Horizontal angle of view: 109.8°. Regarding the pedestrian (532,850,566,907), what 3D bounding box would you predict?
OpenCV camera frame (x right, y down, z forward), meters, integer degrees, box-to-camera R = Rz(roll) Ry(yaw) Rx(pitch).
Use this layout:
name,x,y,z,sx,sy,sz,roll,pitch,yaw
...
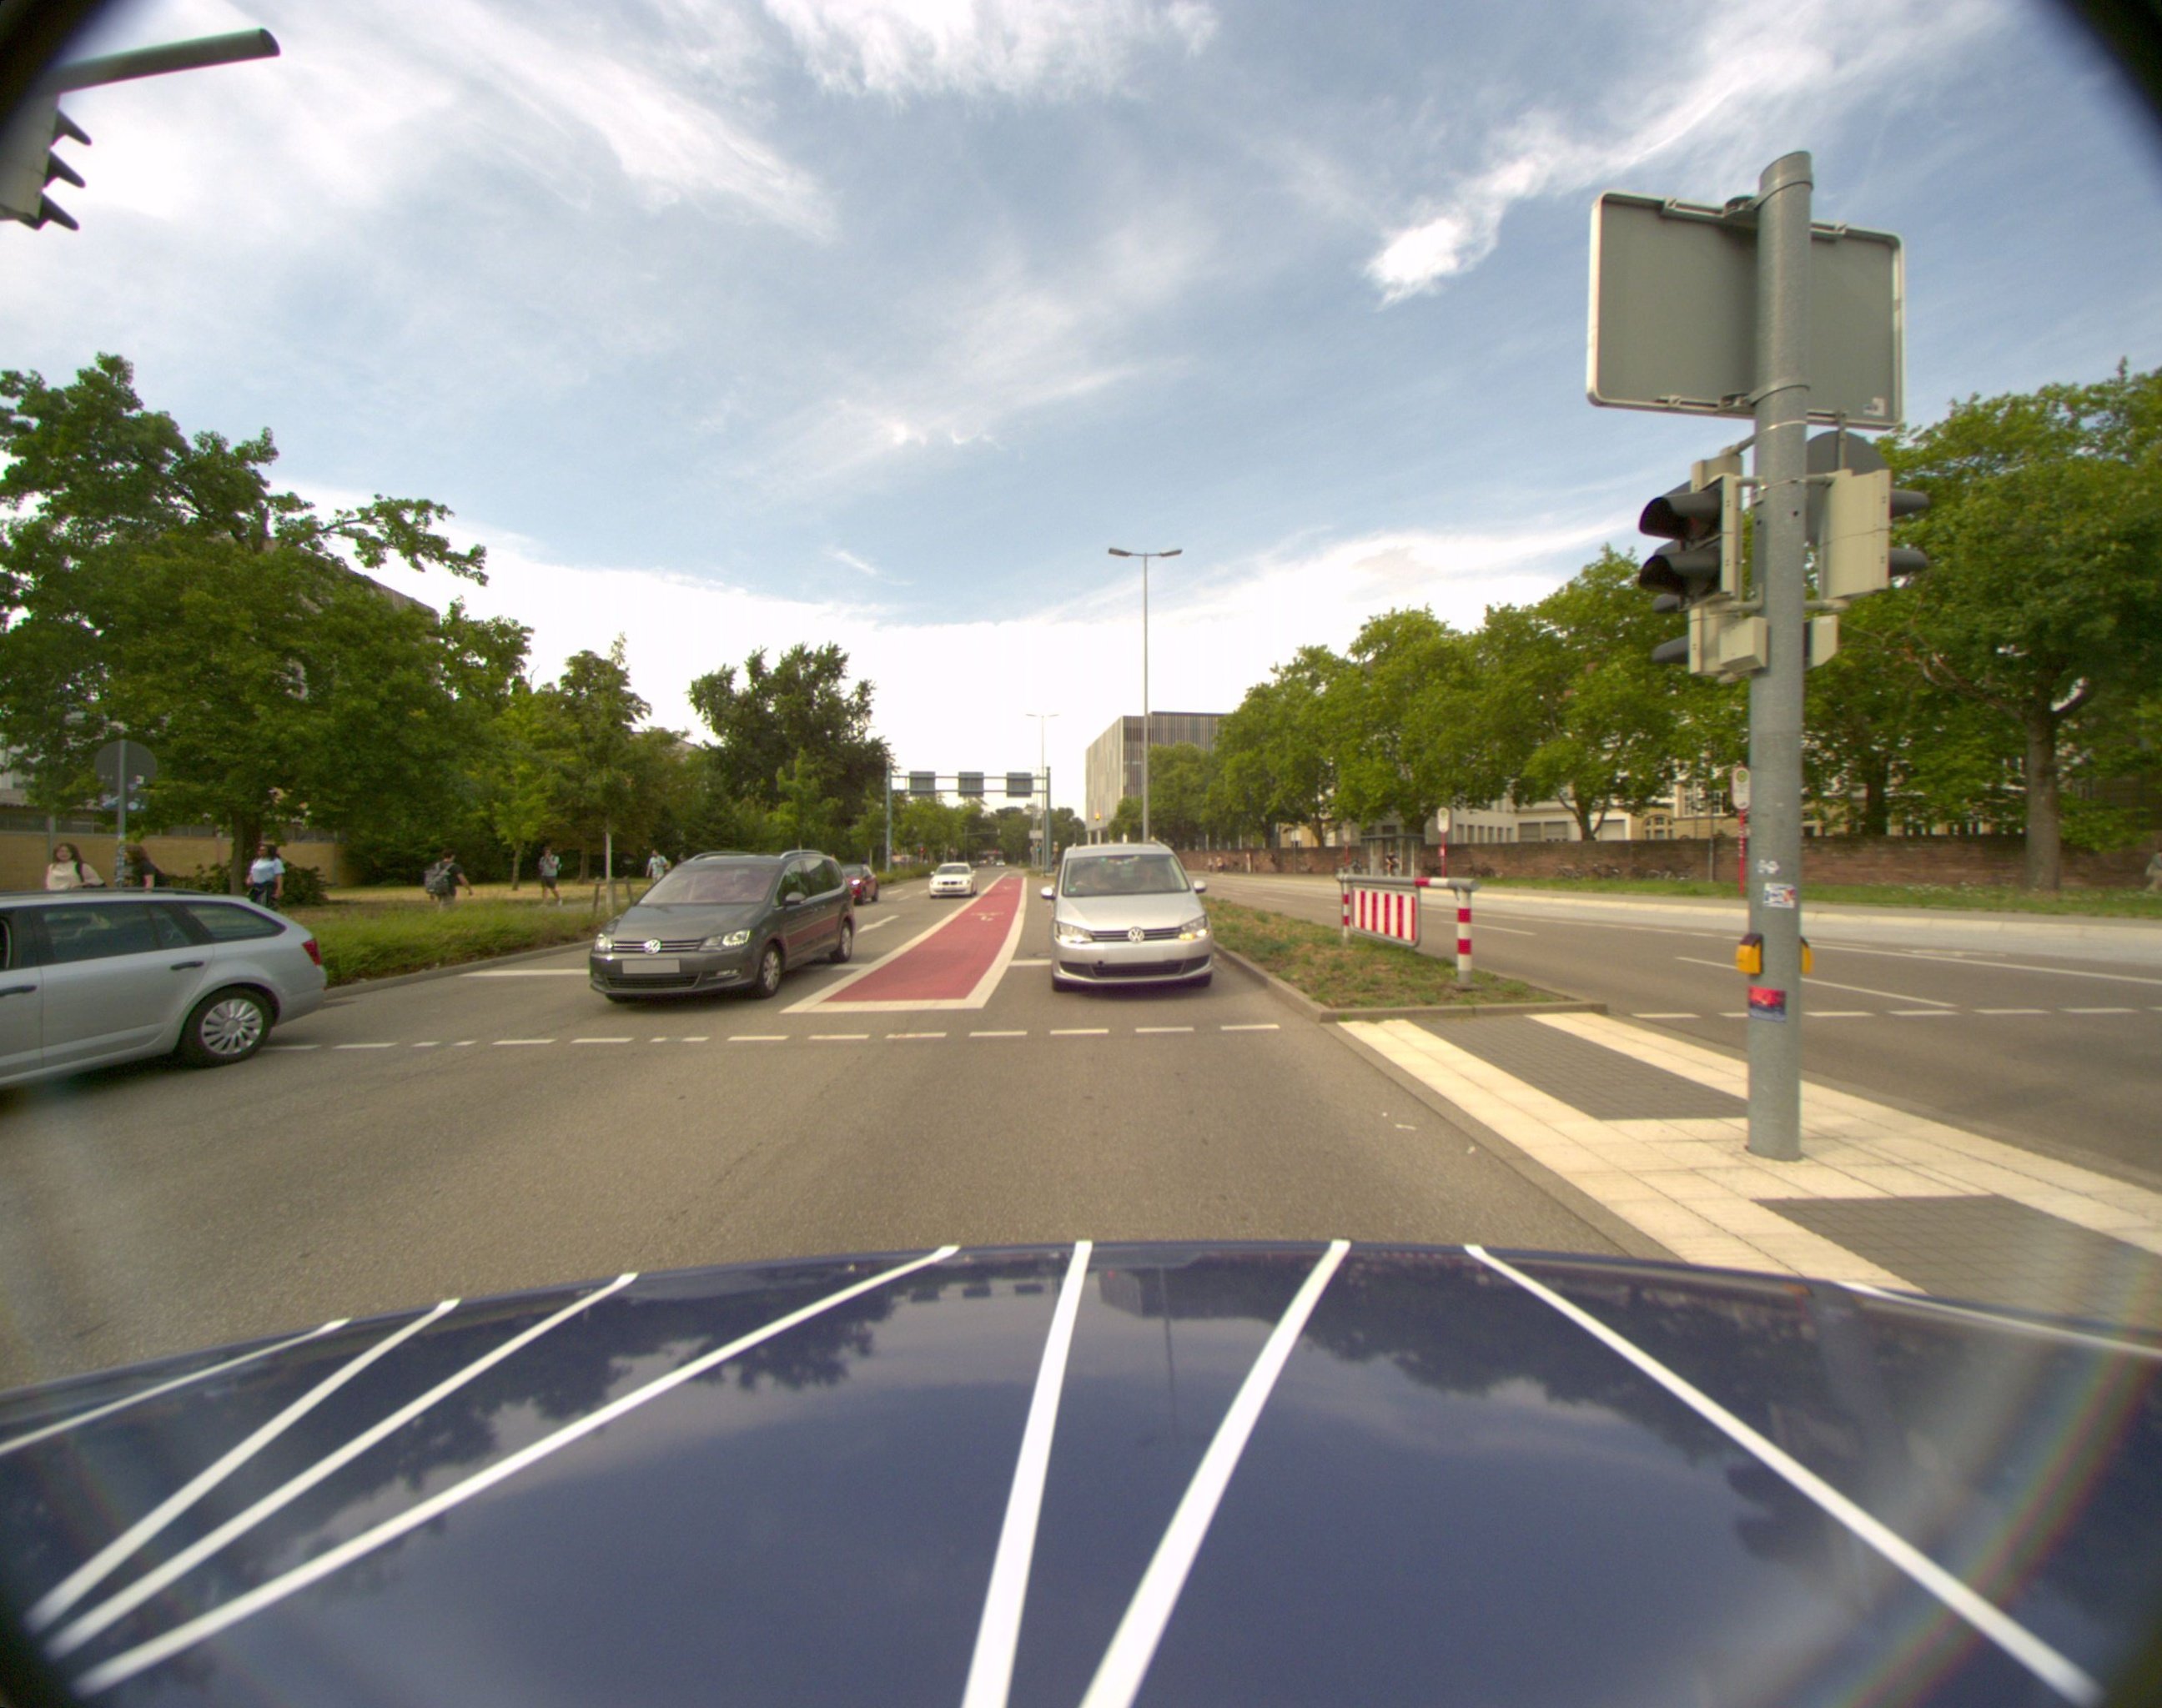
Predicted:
name,x,y,z,sx,sy,sz,roll,pitch,yaw
pedestrian,-15.829,0.716,22.635,0.544,1.686,0.694,1,1,-8

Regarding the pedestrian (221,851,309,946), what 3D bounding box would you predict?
name,x,y,z,sx,sy,sz,roll,pitch,yaw
pedestrian,-15.182,0.805,14.159,0.714,1.701,0.799,-2,1,-8

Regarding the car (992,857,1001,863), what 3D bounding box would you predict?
name,x,y,z,sx,sy,sz,roll,pitch,yaw
car,-24.658,1.750,222.238,1.999,1.565,3.999,-2,1,0

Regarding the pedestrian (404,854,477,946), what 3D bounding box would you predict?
name,x,y,z,sx,sy,sz,roll,pitch,yaw
pedestrian,-12.400,0.869,14.725,0.734,1.701,0.693,-2,1,-1

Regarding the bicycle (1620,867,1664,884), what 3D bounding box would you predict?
name,x,y,z,sx,sy,sz,roll,pitch,yaw
bicycle,28.668,1.085,38.878,0.359,0.859,1.887,2,-1,-23

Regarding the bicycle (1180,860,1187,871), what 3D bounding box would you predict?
name,x,y,z,sx,sy,sz,roll,pitch,yaw
bicycle,11.617,1.262,86.331,0.513,1.202,1.395,-2,1,-4

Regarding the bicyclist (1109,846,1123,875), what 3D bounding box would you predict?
name,x,y,z,sx,sy,sz,roll,pitch,yaw
bicyclist,2.138,0.398,46.373,0.777,1.700,1.086,2,-1,1

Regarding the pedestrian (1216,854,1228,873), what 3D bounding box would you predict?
name,x,y,z,sx,sy,sz,roll,pitch,yaw
pedestrian,12.265,0.831,66.171,0.755,1.612,0.665,-2,1,-10

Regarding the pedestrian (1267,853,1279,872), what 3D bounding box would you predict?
name,x,y,z,sx,sy,sz,roll,pitch,yaw
pedestrian,16.694,0.778,65.980,0.664,1.612,0.756,-1,1,45

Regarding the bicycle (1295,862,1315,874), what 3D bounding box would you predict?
name,x,y,z,sx,sy,sz,roll,pitch,yaw
bicycle,18.264,1.146,61.874,0.662,0.882,1.573,-4,1,-24

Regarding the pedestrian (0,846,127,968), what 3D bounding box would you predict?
name,x,y,z,sx,sy,sz,roll,pitch,yaw
pedestrian,-15.077,0.756,11.244,0.840,1.701,0.798,-2,1,-19

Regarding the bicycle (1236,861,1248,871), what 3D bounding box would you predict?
name,x,y,z,sx,sy,sz,roll,pitch,yaw
bicycle,15.169,1.159,71.640,0.433,0.882,1.574,-4,0,-15

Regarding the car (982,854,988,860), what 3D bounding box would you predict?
name,x,y,z,sx,sy,sz,roll,pitch,yaw
car,-32.417,1.097,256.750,1.999,2.002,3.997,-2,1,-6

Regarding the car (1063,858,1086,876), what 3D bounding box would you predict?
name,x,y,z,sx,sy,sz,roll,pitch,yaw
car,-0.617,1.130,67.254,1.789,1.481,4.128,2,0,-4

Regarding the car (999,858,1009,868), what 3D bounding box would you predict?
name,x,y,z,sx,sy,sz,roll,pitch,yaw
car,-17.116,2.034,168.745,1.999,2.002,3.997,-2,1,-6

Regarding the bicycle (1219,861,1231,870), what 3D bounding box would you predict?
name,x,y,z,sx,sy,sz,roll,pitch,yaw
bicycle,14.293,1.162,75.376,0.433,0.882,1.574,-4,0,-15

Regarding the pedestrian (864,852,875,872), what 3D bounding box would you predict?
name,x,y,z,sx,sy,sz,roll,pitch,yaw
pedestrian,-18.046,0.679,64.861,0.714,1.701,0.694,-2,1,-4

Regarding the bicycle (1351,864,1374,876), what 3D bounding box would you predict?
name,x,y,z,sx,sy,sz,roll,pitch,yaw
bicycle,20.617,1.172,55.683,0.662,0.882,1.573,-4,1,-24

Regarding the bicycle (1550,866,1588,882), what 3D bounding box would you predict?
name,x,y,z,sx,sy,sz,roll,pitch,yaw
bicycle,27.102,1.117,42.251,0.359,0.859,1.818,2,-1,-27

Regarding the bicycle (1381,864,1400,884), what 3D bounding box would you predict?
name,x,y,z,sx,sy,sz,roll,pitch,yaw
bicycle,15.838,1.015,38.932,0.505,0.930,1.972,0,2,10

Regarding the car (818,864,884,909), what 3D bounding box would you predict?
name,x,y,z,sx,sy,sz,roll,pitch,yaw
car,-8.411,1.150,28.071,1.671,1.407,3.455,-2,1,-6

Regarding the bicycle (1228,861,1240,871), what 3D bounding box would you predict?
name,x,y,z,sx,sy,sz,roll,pitch,yaw
bicycle,14.862,1.153,73.762,0.433,0.882,1.574,-4,0,-15

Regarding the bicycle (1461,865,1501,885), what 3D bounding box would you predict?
name,x,y,z,sx,sy,sz,roll,pitch,yaw
bicycle,24.553,1.279,46.654,0.760,1.182,2.094,2,-1,-26

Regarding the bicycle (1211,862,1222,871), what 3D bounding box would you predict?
name,x,y,z,sx,sy,sz,roll,pitch,yaw
bicycle,13.796,1.259,77.202,0.433,0.882,1.574,-4,0,-15

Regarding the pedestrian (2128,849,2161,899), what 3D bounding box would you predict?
name,x,y,z,sx,sy,sz,roll,pitch,yaw
pedestrian,36.107,0.659,25.613,0.780,1.645,0.578,-1,1,34

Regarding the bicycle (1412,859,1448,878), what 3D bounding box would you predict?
name,x,y,z,sx,sy,sz,roll,pitch,yaw
bicycle,23.025,0.949,50.157,0.760,1.182,2.094,2,-1,-26

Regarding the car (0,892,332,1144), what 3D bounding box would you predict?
name,x,y,z,sx,sy,sz,roll,pitch,yaw
car,-7.747,1.128,4.660,1.824,1.465,4.527,-2,1,-1

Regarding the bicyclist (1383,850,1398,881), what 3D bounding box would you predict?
name,x,y,z,sx,sy,sz,roll,pitch,yaw
bicyclist,15.804,0.597,38.816,0.579,1.547,0.798,0,2,10

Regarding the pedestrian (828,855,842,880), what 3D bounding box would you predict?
name,x,y,z,sx,sy,sz,roll,pitch,yaw
pedestrian,-17.706,0.970,54.711,0.714,1.701,0.694,-2,1,-4

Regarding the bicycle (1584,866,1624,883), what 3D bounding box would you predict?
name,x,y,z,sx,sy,sz,roll,pitch,yaw
bicycle,27.915,1.100,40.599,0.359,0.859,1.806,2,-1,-24

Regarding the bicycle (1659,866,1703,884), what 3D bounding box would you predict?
name,x,y,z,sx,sy,sz,roll,pitch,yaw
bicycle,29.750,1.054,37.686,0.359,0.859,1.704,2,-1,-30

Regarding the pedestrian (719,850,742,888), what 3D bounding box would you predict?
name,x,y,z,sx,sy,sz,roll,pitch,yaw
pedestrian,-16.172,0.691,35.064,0.714,1.701,0.694,-2,1,-4

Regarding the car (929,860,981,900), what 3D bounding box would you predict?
name,x,y,z,sx,sy,sz,roll,pitch,yaw
car,-5.258,1.043,32.170,1.760,1.450,4.221,-2,1,-4

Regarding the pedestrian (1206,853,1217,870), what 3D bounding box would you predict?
name,x,y,z,sx,sy,sz,roll,pitch,yaw
pedestrian,12.589,0.719,73.338,0.755,1.612,0.665,-2,1,-10

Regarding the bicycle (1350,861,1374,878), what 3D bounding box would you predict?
name,x,y,z,sx,sy,sz,roll,pitch,yaw
bicycle,20.036,1.093,54.111,2.103,1.182,0.756,3,-1,-43

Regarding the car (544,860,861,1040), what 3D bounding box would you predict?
name,x,y,z,sx,sy,sz,roll,pitch,yaw
car,-4.387,0.959,9.807,1.759,1.641,4.685,-2,1,-1

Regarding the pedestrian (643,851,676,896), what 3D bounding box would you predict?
name,x,y,z,sx,sy,sz,roll,pitch,yaw
pedestrian,-16.260,0.750,29.333,0.842,1.701,0.694,-2,1,-8

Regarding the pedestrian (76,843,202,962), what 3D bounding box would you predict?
name,x,y,z,sx,sy,sz,roll,pitch,yaw
pedestrian,-14.275,0.706,11.545,0.840,1.701,0.798,-2,1,-19

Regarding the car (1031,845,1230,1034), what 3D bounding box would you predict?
name,x,y,z,sx,sy,sz,roll,pitch,yaw
car,0.500,0.788,9.438,1.824,1.724,4.528,-2,1,1

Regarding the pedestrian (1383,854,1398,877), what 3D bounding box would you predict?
name,x,y,z,sx,sy,sz,roll,pitch,yaw
pedestrian,21.635,0.787,53.085,0.569,1.612,0.753,-3,1,-26
